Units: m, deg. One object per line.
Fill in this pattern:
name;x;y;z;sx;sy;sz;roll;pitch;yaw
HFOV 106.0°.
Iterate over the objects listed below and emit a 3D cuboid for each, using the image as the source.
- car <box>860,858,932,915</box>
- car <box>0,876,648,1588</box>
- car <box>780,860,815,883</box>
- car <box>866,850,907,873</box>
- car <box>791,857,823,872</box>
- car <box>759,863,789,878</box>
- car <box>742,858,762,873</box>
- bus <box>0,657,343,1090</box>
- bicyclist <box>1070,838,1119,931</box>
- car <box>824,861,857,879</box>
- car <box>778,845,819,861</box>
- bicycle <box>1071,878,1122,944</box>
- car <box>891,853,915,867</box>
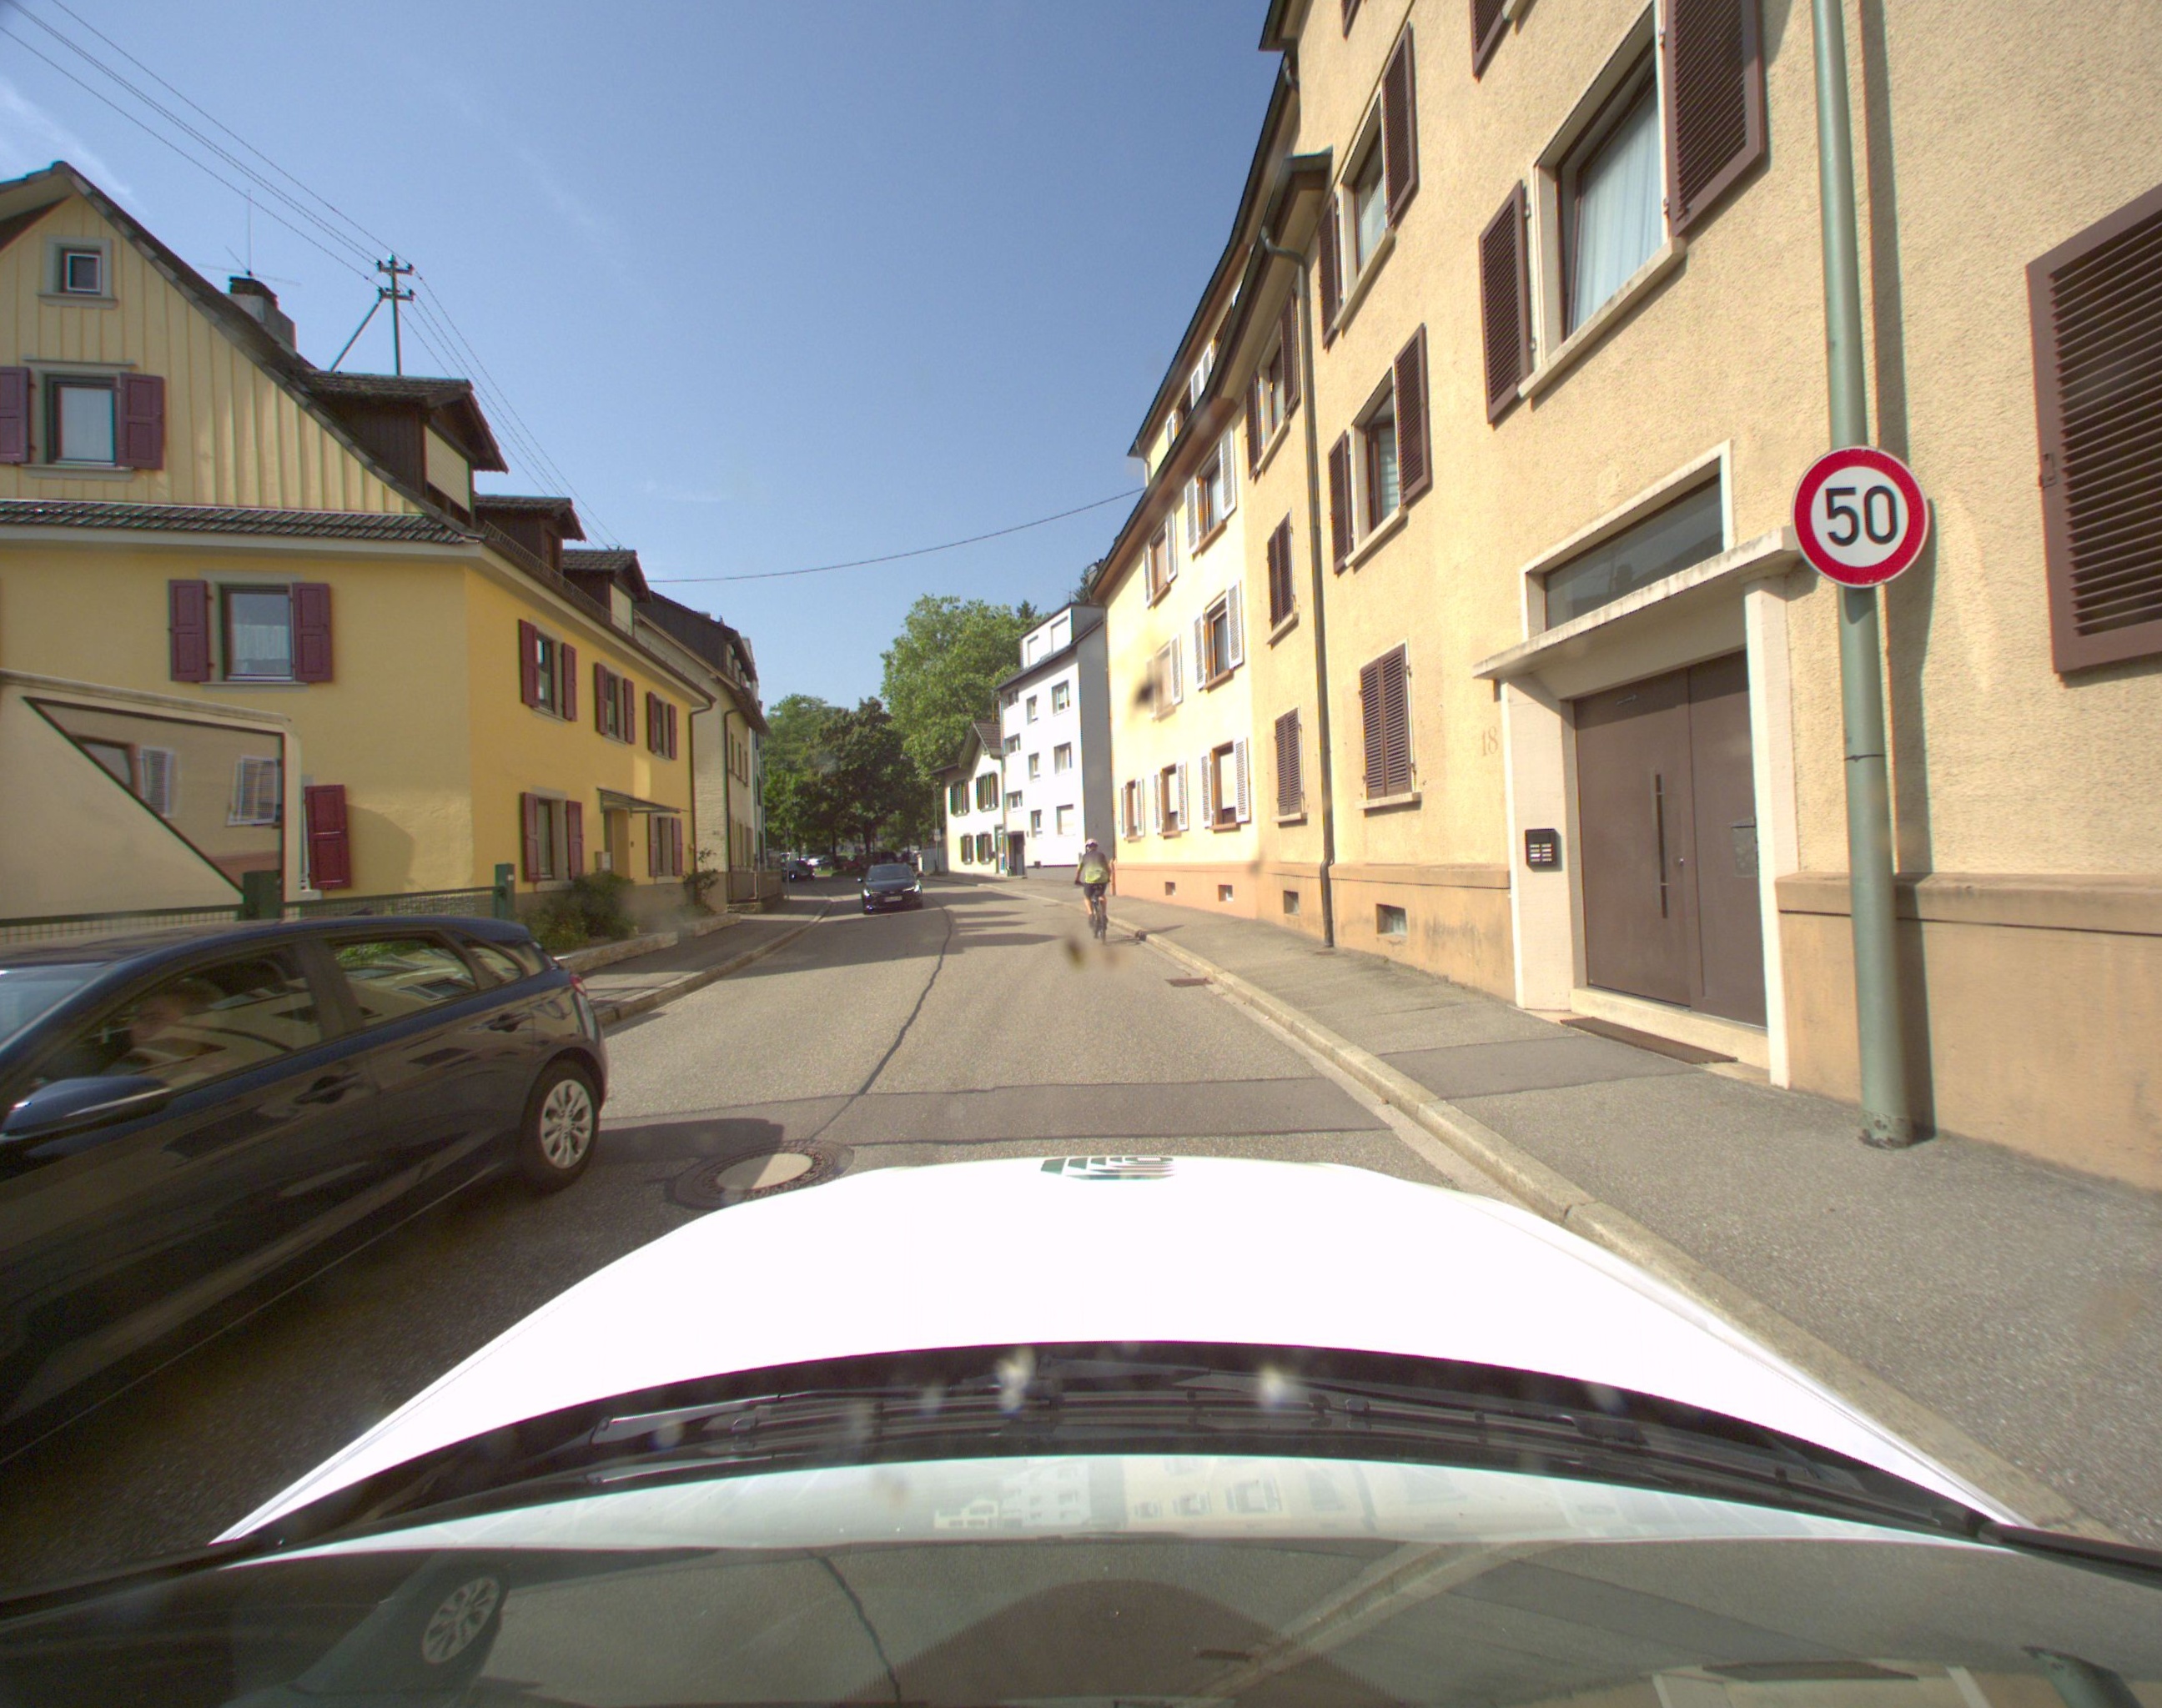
car;-5.672;0.923;25.386;1.658;1.449;4.248;-5;1;-7
car;-3.344;0.966;2.617;1.743;1.452;4.023;-6;1;-3
car;-21.495;1.303;61.593;1.834;1.537;3.964;-6;1;-27
car;-16.207;0.575;67.832;1.837;1.790;3.955;-3;2;-37
car;-32.311;1.201;96.122;1.799;1.552;4.010;-2;0;9
car;-33.172;1.801;88.014;3.366;1.468;1.688;-2;0;43
car;-37.396;1.327;92.607;1.753;1.552;3.720;-2;0;-27
bus;-9.490;0.164;4.314;2.810;3.228;9.036;-1;0;1
bicyclist;0.227;0.513;14.030;0.685;1.531;0.714;-3;0;-6
car;-22.969;1.482;77.661;1.722;1.542;3.955;-3;2;-37
car;-34.511;-0.137;99.558;1.975;1.855;4.727;-2;0;24
bicycle;0.247;0.954;14.068;0.698;1.035;1.468;-1;0;-6
car;-17.744;0.636;81.034;1.590;1.257;3.827;-4;1;-24
